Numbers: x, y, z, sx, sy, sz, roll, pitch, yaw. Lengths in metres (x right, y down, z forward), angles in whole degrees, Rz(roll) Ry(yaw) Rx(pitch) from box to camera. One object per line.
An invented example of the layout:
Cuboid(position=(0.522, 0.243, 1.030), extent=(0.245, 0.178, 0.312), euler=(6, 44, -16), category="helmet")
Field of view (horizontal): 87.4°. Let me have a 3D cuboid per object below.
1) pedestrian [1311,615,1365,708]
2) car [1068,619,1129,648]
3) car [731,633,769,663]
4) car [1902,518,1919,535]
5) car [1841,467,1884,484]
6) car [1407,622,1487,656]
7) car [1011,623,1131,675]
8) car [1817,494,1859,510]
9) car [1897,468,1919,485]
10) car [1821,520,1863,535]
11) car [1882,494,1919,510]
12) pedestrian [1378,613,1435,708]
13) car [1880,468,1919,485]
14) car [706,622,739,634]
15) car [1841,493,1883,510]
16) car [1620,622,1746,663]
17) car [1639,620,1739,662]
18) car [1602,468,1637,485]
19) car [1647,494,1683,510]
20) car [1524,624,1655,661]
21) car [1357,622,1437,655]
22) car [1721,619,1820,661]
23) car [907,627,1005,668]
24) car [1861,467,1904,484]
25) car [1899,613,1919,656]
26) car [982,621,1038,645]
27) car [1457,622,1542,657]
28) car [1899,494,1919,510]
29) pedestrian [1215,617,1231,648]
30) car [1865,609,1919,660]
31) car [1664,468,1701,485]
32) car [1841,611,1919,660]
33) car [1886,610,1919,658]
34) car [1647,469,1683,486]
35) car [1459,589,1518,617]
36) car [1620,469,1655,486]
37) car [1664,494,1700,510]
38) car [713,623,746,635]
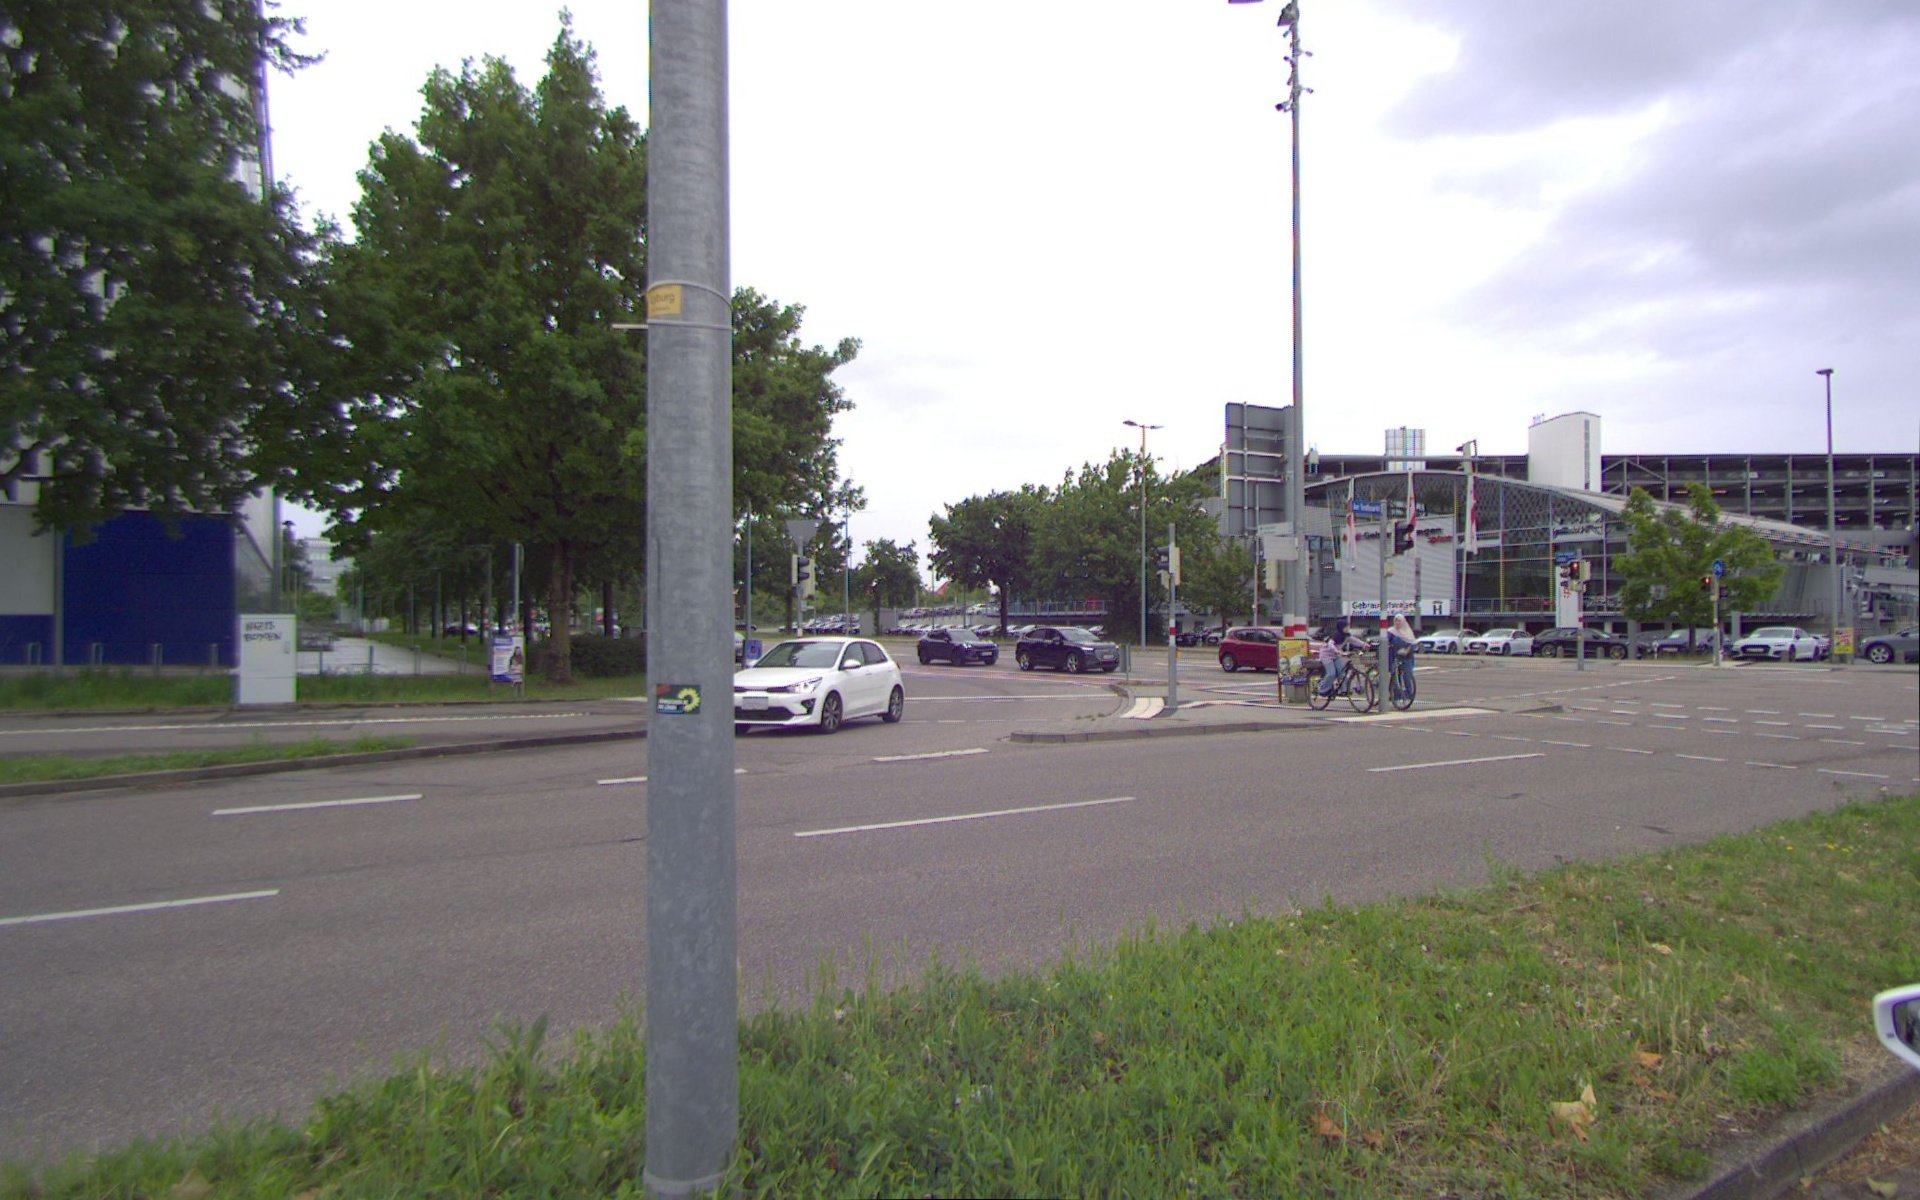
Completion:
Cuboid(position=(6.582, 1.063, 17.518), extent=(0.641, 1.569, 0.649), euler=(2, -2, -5), category="pedestrian")
Cuboid(position=(10.212, 2.450, 74.158), extent=(4.210, 1.622, 1.858), euler=(8, -4, -34), category="car")
Cuboid(position=(-10.596, 2.402, 50.868), extent=(1.696, 1.389, 3.994), euler=(-1, -2, -10), category="car")
Cuboid(position=(126.692, -9.746, 131.287), extent=(2.167, 1.971, 5.331), euler=(1, 0, -1), category="car")
Cuboid(position=(116.733, -16.082, 129.982), extent=(1.960, 1.689, 4.001), euler=(1, 0, 2), category="car")
Cuboid(position=(24.498, 1.964, 50.505), extent=(4.002, 1.505, 1.860), euler=(4, -3, -33), category="car")
Cuboid(position=(3.903, 1.713, 35.897), extent=(1.867, 1.659, 4.292), euler=(-3, 0, -35), category="car")
Cuboid(position=(113.580, -12.675, 130.014), extent=(1.960, 1.689, 4.001), euler=(1, 0, 2), category="car")
Cuboid(position=(124.356, -16.058, 130.280), extent=(1.960, 1.689, 4.001), euler=(1, 0, 2), category="car")
Cuboid(position=(114.174, -9.354, 130.088), extent=(1.960, 1.689, 4.001), euler=(1, 0, 2), category="car")
Cuboid(position=(121.930, -12.670, 129.864), extent=(1.960, 1.689, 4.001), euler=(1, 0, 2), category="car")
Cuboid(position=(7.987, 1.081, 17.994), extent=(0.628, 1.647, 0.692), euler=(-1, -4, -2), category="pedestrian")
Cuboid(position=(122.112, -15.988, 130.303), extent=(1.960, 1.689, 4.001), euler=(1, 0, 2), category="car")
Cuboid(position=(-31.973, 3.791, 135.132), extent=(3.949, 1.455, 1.718), euler=(2, 0, -27), category="car")
Cuboid(position=(116.551, -12.720, 129.883), extent=(1.960, 1.689, 4.001), euler=(1, 0, 2), category="car")
Cuboid(position=(36.274, 2.087, 50.521), extent=(1.978, 1.965, 4.776), euler=(1, -2, -32), category="car")
Cuboid(position=(30.501, 1.747, 42.009), extent=(4.473, 1.505, 2.050), euler=(4, -5, -35), category="car")
Cuboid(position=(86.129, -16.077, 131.208), extent=(1.960, 1.689, 4.001), euler=(1, 0, 2), category="car")
Cuboid(position=(91.571, -12.760, 130.568), extent=(1.960, 1.689, 4.001), euler=(1, 0, 2), category="car")
Cuboid(position=(28.385, 1.897, 45.455), extent=(1.873, 1.505, 4.713), euler=(4, -4, -32), category="car")
Cuboid(position=(22.997, 2.021, 52.800), extent=(4.188, 1.505, 1.855), euler=(4, -3, -33), category="car")
Cuboid(position=(32.016, 1.603, 39.654), extent=(4.184, 1.505, 1.858), euler=(3, -3, -33), category="car")
Cuboid(position=(-0.239, 1.962, 42.138), extent=(1.867, 1.565, 4.554), euler=(-1, -1, -35), category="car")
Cuboid(position=(119.353, -16.086, 129.939), extent=(1.960, 1.689, 4.001), euler=(1, 0, 2), category="car")
Cuboid(position=(44.305, 1.464, 43.562), extent=(2.034, 1.900, 4.914), euler=(2, -4, -35), category="car")
Cuboid(position=(4.141, 2.717, 82.829), extent=(4.153, 1.505, 1.959), euler=(7, -3, -33), category="car")
Cuboid(position=(26.024, 1.904, 48.443), extent=(4.154, 1.505, 1.836), euler=(4, -3, -33), category="car")
Cuboid(position=(124.151, -12.686, 129.850), extent=(1.960, 1.689, 4.001), euler=(1, 0, 2), category="car")
Cuboid(position=(16.529, 2.039, 63.199), extent=(0.666, 1.895, 0.713), euler=(3, -2, -31), category="pedestrian")
Cuboid(position=(39.724, 1.383, 40.341), extent=(1.979, 2.040, 4.674), euler=(2, -4, -34), category="car")
Cuboid(position=(94.067, -16.054, 130.792), extent=(1.960, 1.689, 4.001), euler=(1, 0, 2), category="car")
Cuboid(position=(37.588, 1.390, 38.957), extent=(1.979, 1.887, 4.744), euler=(2, -4, -34), category="car")
Cuboid(position=(42.273, 1.406, 41.872), extent=(2.243, 2.040, 4.993), euler=(2, -4, -34), category="car")
Cuboid(position=(91.699, -15.910, 130.621), extent=(1.960, 1.689, 4.001), euler=(1, 0, 2), category="car")
Cuboid(position=(34.727, 0.206, 65.992), extent=(3.960, 1.684, 1.807), euler=(2, 0, -35), category="car")
Cuboid(position=(88.523, -16.003, 131.315), extent=(1.960, 1.689, 4.001), euler=(1, 0, 2), category="car")
Cuboid(position=(93.854, -12.691, 130.586), extent=(1.960, 1.689, 4.001), euler=(1, 0, 2), category="car")
Cuboid(position=(-30.408, 3.866, 132.391), extent=(3.949, 1.455, 1.718), euler=(2, 0, -27), category="car")
